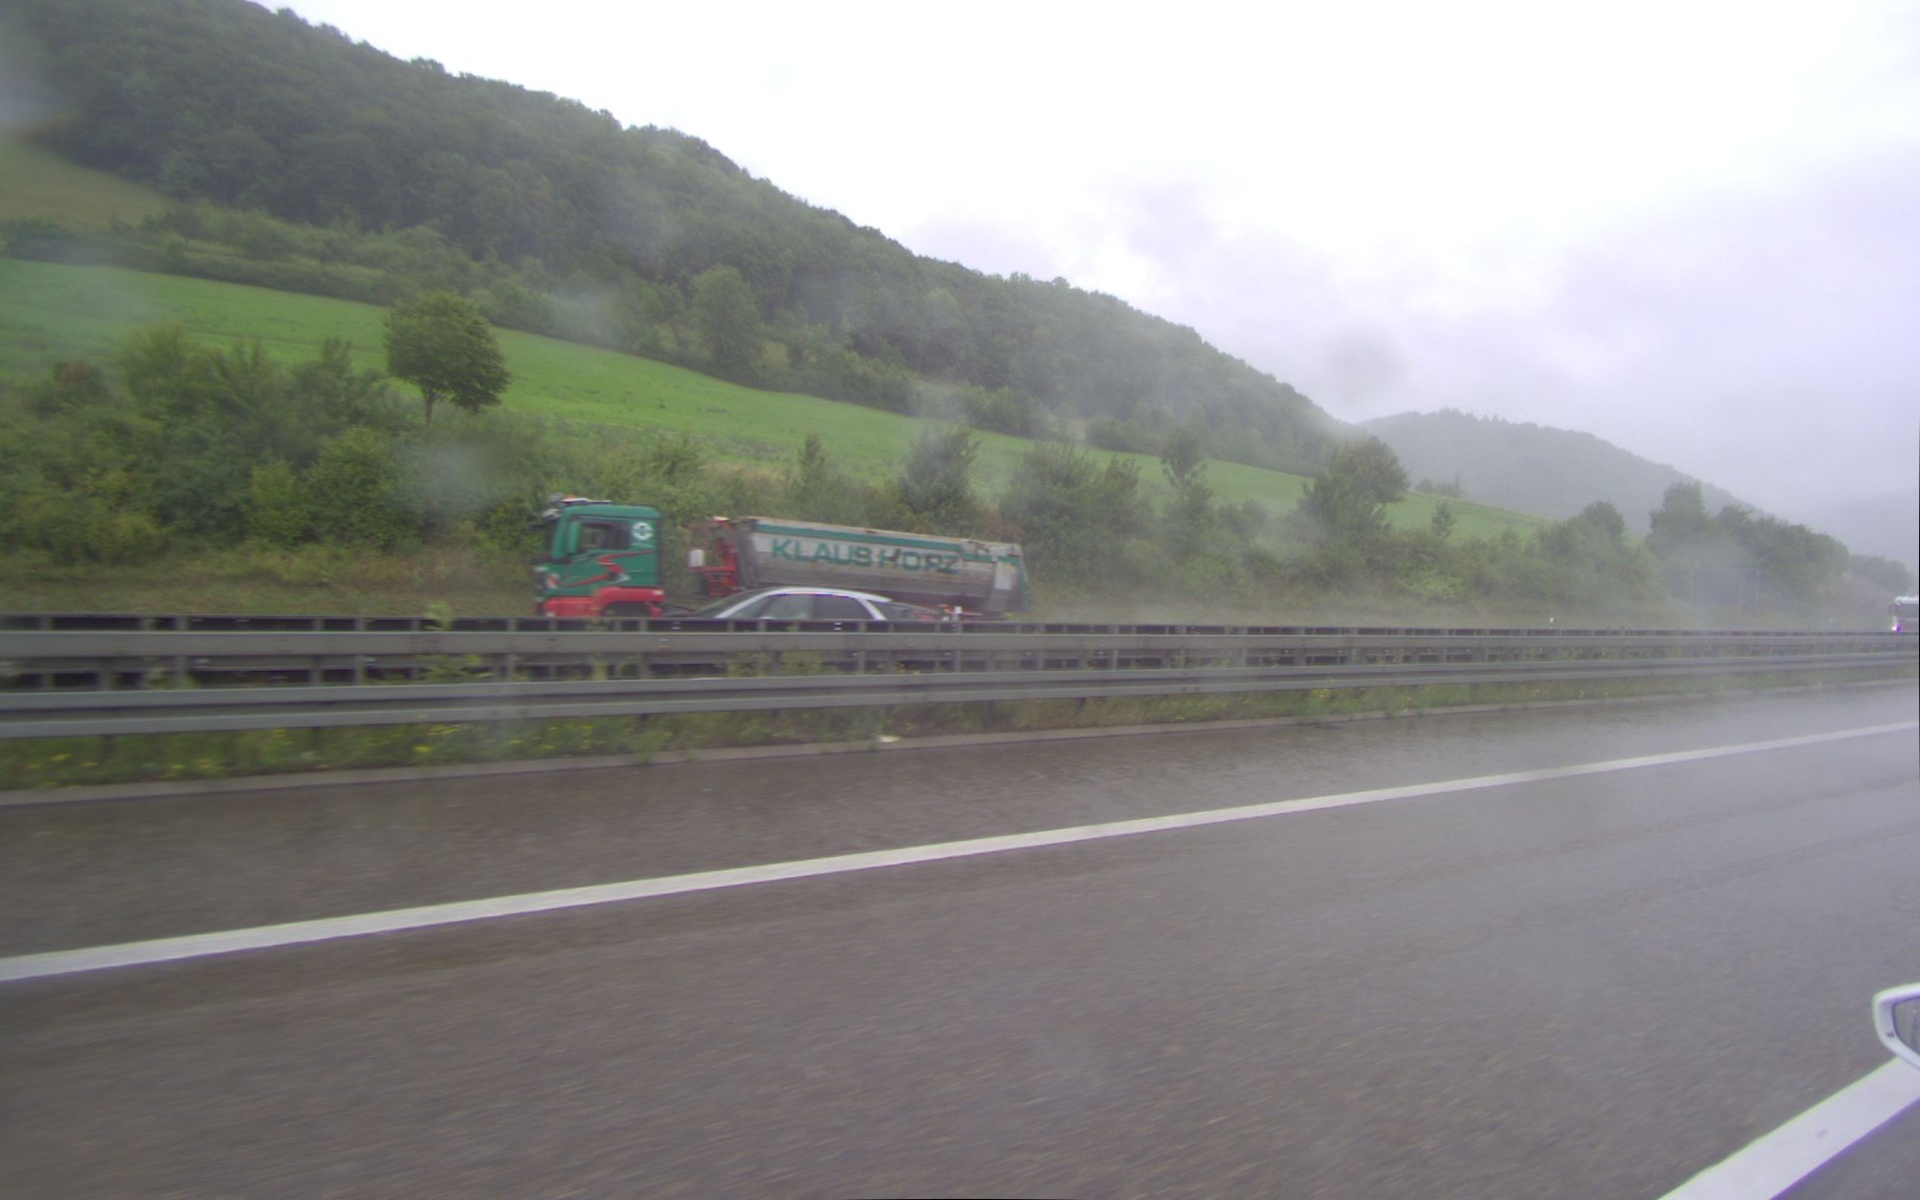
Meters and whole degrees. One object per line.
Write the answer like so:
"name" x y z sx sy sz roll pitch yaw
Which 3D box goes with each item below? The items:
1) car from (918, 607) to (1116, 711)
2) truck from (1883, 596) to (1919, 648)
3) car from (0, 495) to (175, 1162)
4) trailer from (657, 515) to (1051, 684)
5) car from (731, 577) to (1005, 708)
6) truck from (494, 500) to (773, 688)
"car" 1.274 1.235 22.080 3.956 2.040 1.903 1 0 -32
"truck" 73.340 1.710 77.134 5.269 3.853 2.861 1 0 -39
"car" -4.982 0.518 2.200 4.853 1.705 1.983 2 -2 -31
"trailer" -2.345 0.073 24.511 9.287 3.537 2.706 1 0 -31
"car" -1.446 0.639 16.090 3.954 1.870 1.850 1 0 -31
"truck" -7.021 -0.071 21.673 5.249 3.589 2.702 1 0 -31
